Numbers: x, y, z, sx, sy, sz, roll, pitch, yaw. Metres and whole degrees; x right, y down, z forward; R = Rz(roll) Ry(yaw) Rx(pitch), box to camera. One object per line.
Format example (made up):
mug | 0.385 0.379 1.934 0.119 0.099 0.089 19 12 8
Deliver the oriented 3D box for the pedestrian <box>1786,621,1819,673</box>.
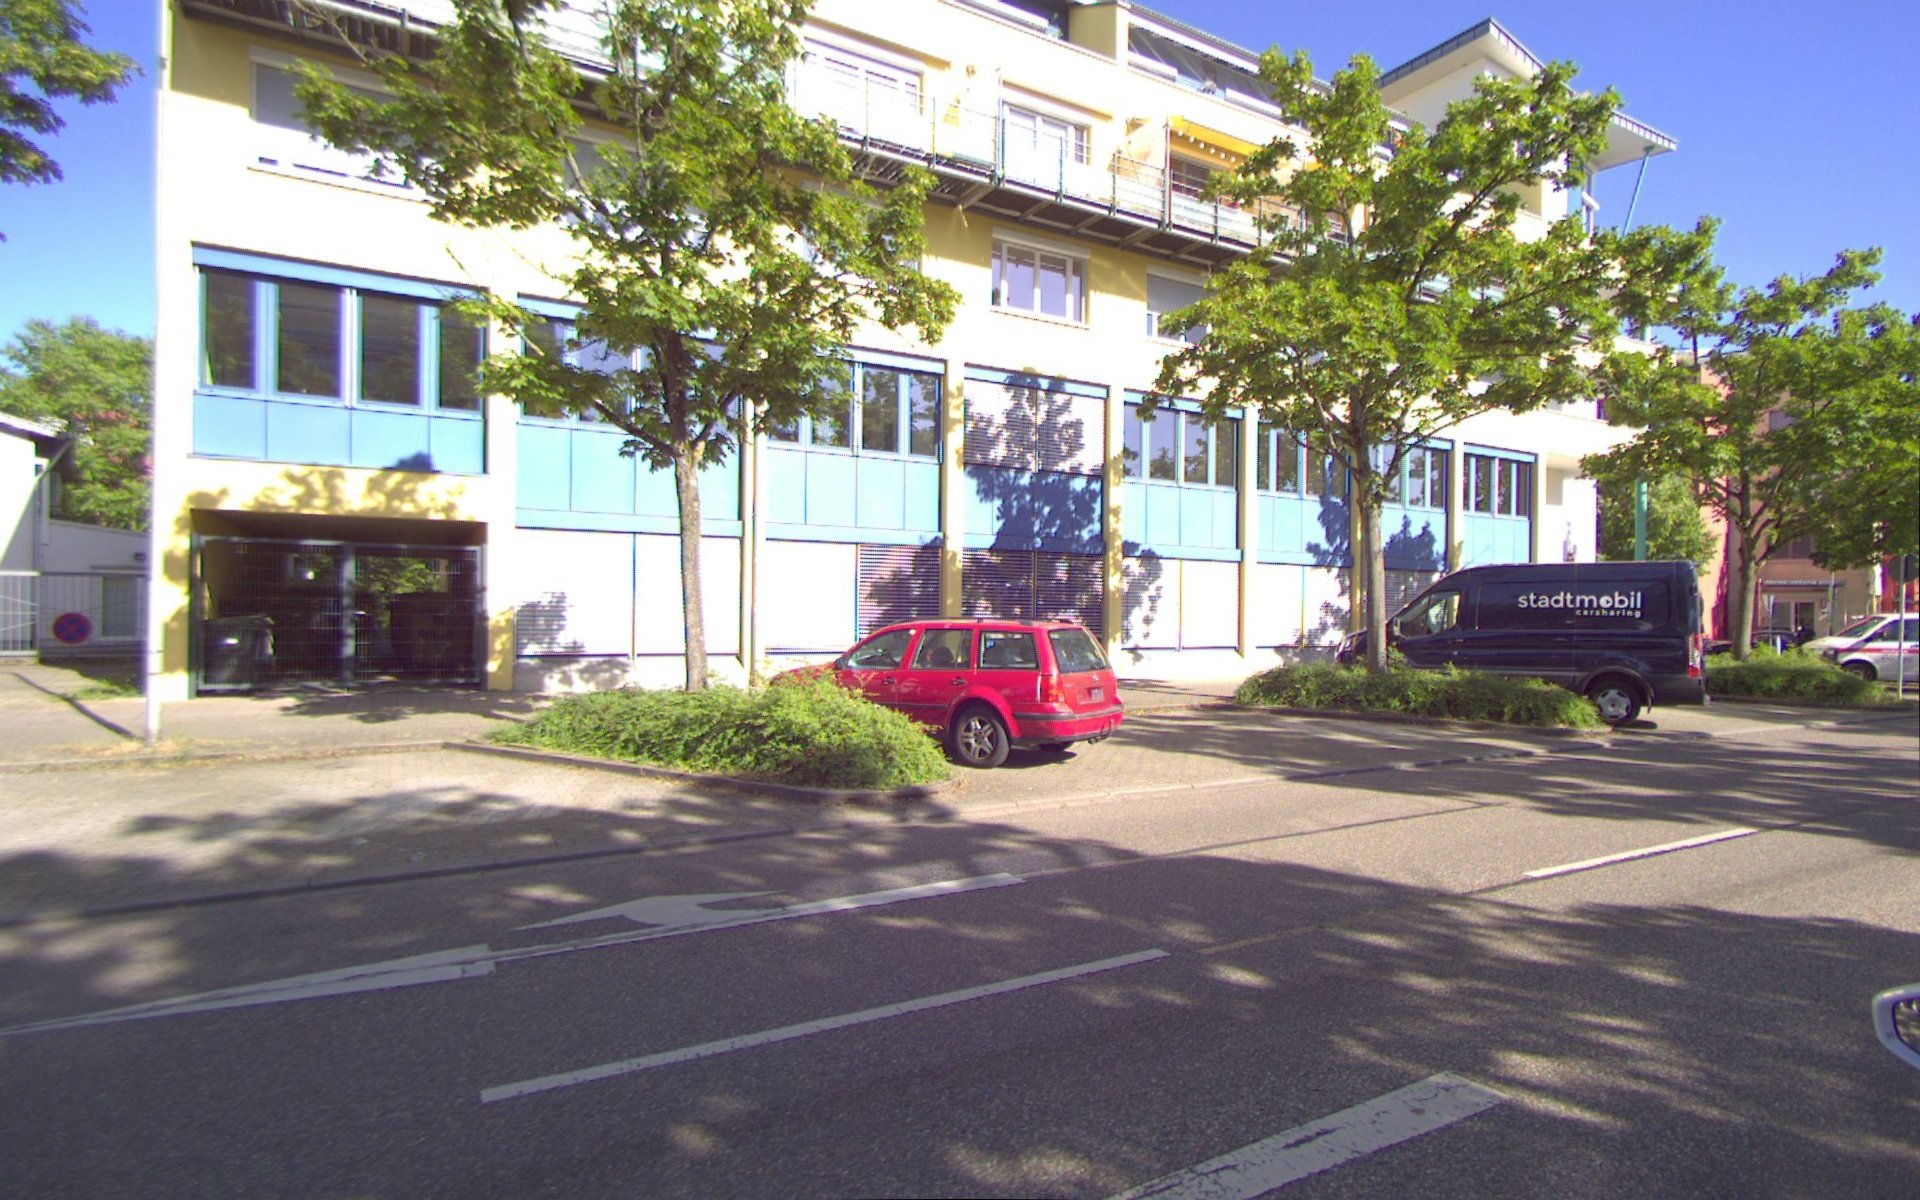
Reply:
pedestrian | 29.061 1.611 34.654 1.013 1.748 0.651 1 -2 -39

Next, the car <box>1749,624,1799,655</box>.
car | 40.672 1.955 50.252 1.711 1.462 4.117 -1 -1 36

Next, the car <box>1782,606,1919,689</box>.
car | 24.352 1.211 25.733 4.679 2.012 1.999 1 1 23

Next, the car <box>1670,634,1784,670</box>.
car | 35.563 2.374 46.641 1.790 1.466 3.945 -2 1 -42

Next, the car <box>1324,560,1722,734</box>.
car | 9.104 0.624 16.651 5.412 2.469 2.180 1 1 34

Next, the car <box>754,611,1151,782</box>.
car | -0.166 0.914 11.218 4.163 1.495 1.765 1 0 34
